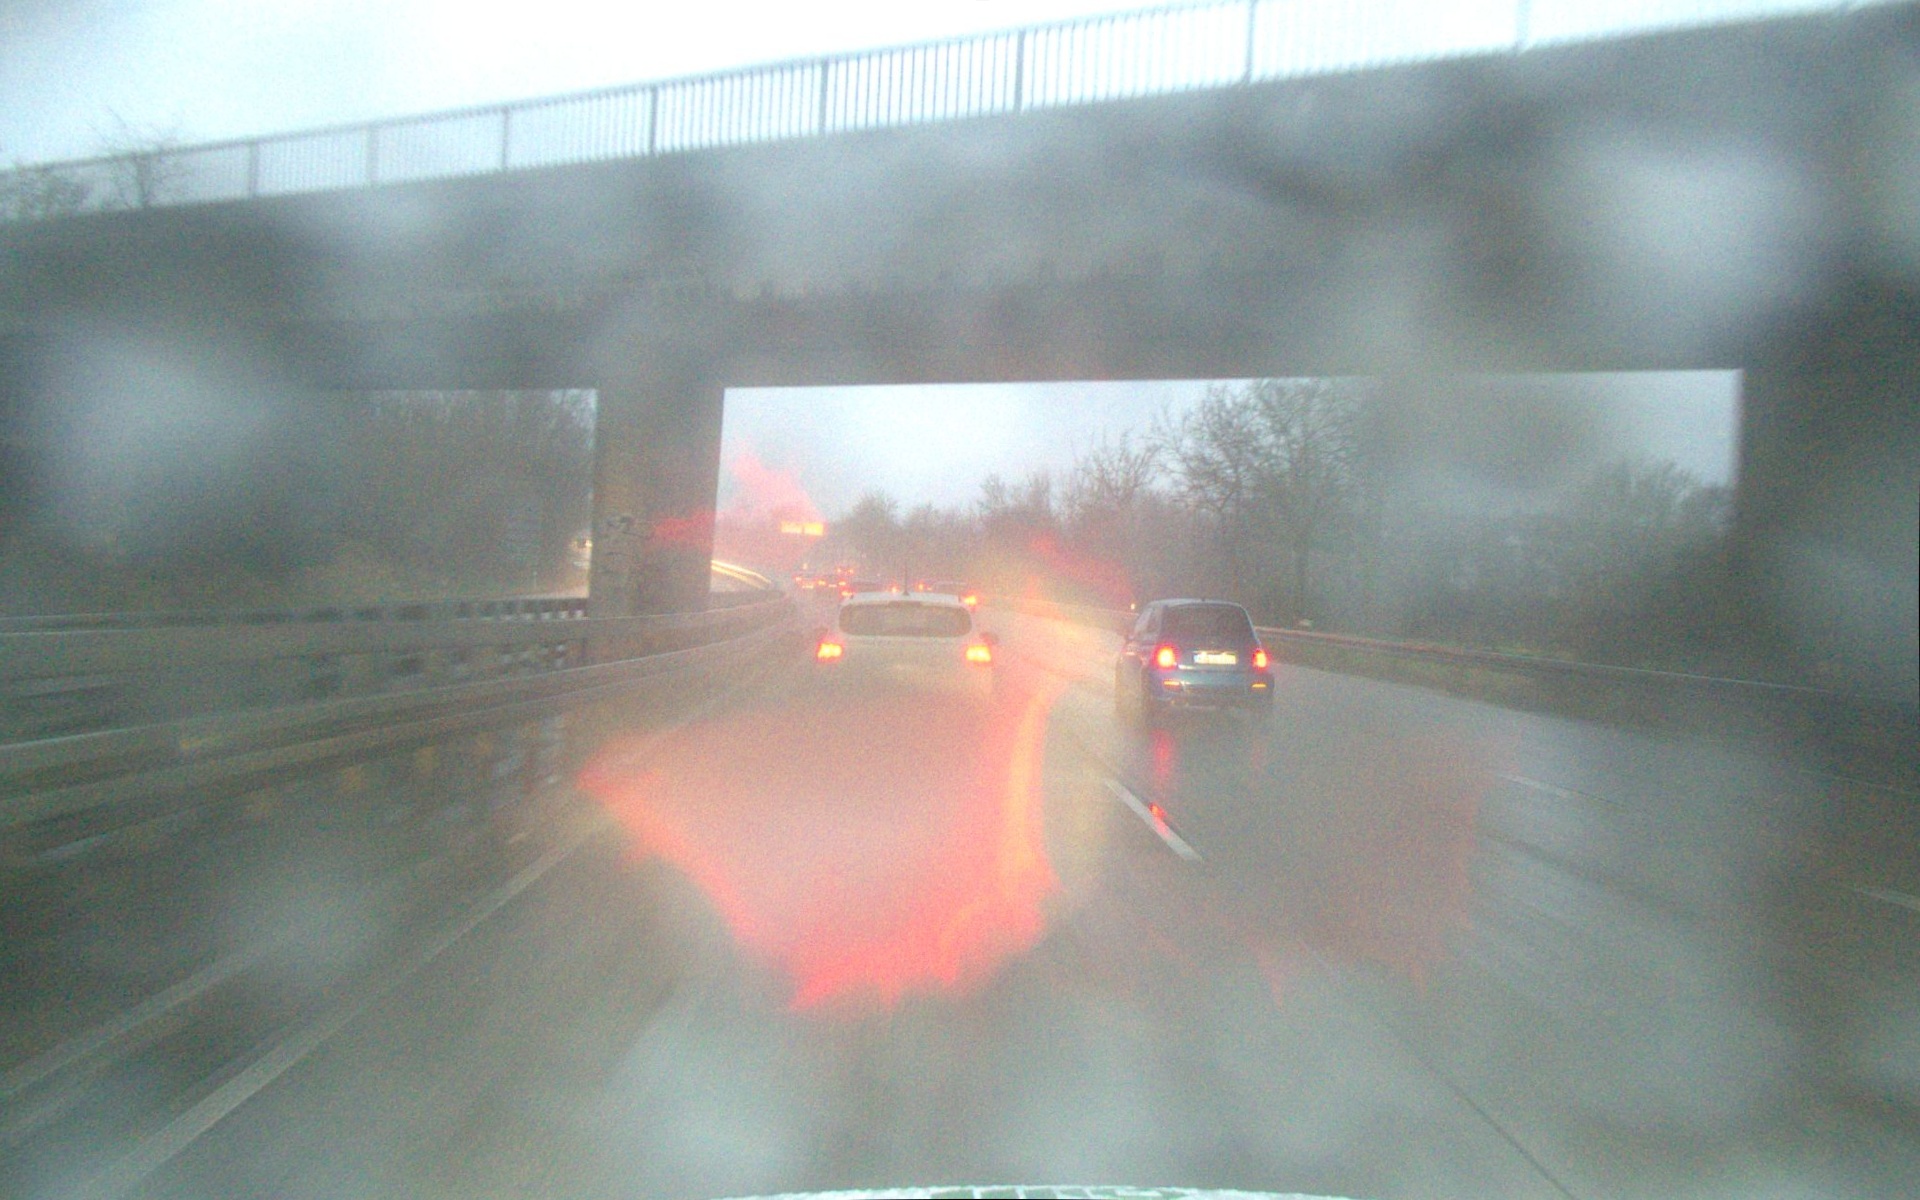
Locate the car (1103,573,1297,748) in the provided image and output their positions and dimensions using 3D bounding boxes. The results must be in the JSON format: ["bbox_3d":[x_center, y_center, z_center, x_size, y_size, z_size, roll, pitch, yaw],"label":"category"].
[{"bbox_3d":[3.111,0.773,22.169,1.893,2.055,3.772,3,-1,-1],"label":"car"}]

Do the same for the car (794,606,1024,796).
[{"bbox_3d":[-0.495,0.941,16.814,1.984,1.602,3.999,3,-1,-1],"label":"car"}]

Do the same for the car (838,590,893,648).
[{"bbox_3d":[-3.651,0.747,64.167,1.954,2.049,3.997,3,-1,-3],"label":"car"}]

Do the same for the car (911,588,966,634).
[{"bbox_3d":[-0.879,0.474,65.811,1.895,1.573,3.769,-3,-3,-4],"label":"car"}]
